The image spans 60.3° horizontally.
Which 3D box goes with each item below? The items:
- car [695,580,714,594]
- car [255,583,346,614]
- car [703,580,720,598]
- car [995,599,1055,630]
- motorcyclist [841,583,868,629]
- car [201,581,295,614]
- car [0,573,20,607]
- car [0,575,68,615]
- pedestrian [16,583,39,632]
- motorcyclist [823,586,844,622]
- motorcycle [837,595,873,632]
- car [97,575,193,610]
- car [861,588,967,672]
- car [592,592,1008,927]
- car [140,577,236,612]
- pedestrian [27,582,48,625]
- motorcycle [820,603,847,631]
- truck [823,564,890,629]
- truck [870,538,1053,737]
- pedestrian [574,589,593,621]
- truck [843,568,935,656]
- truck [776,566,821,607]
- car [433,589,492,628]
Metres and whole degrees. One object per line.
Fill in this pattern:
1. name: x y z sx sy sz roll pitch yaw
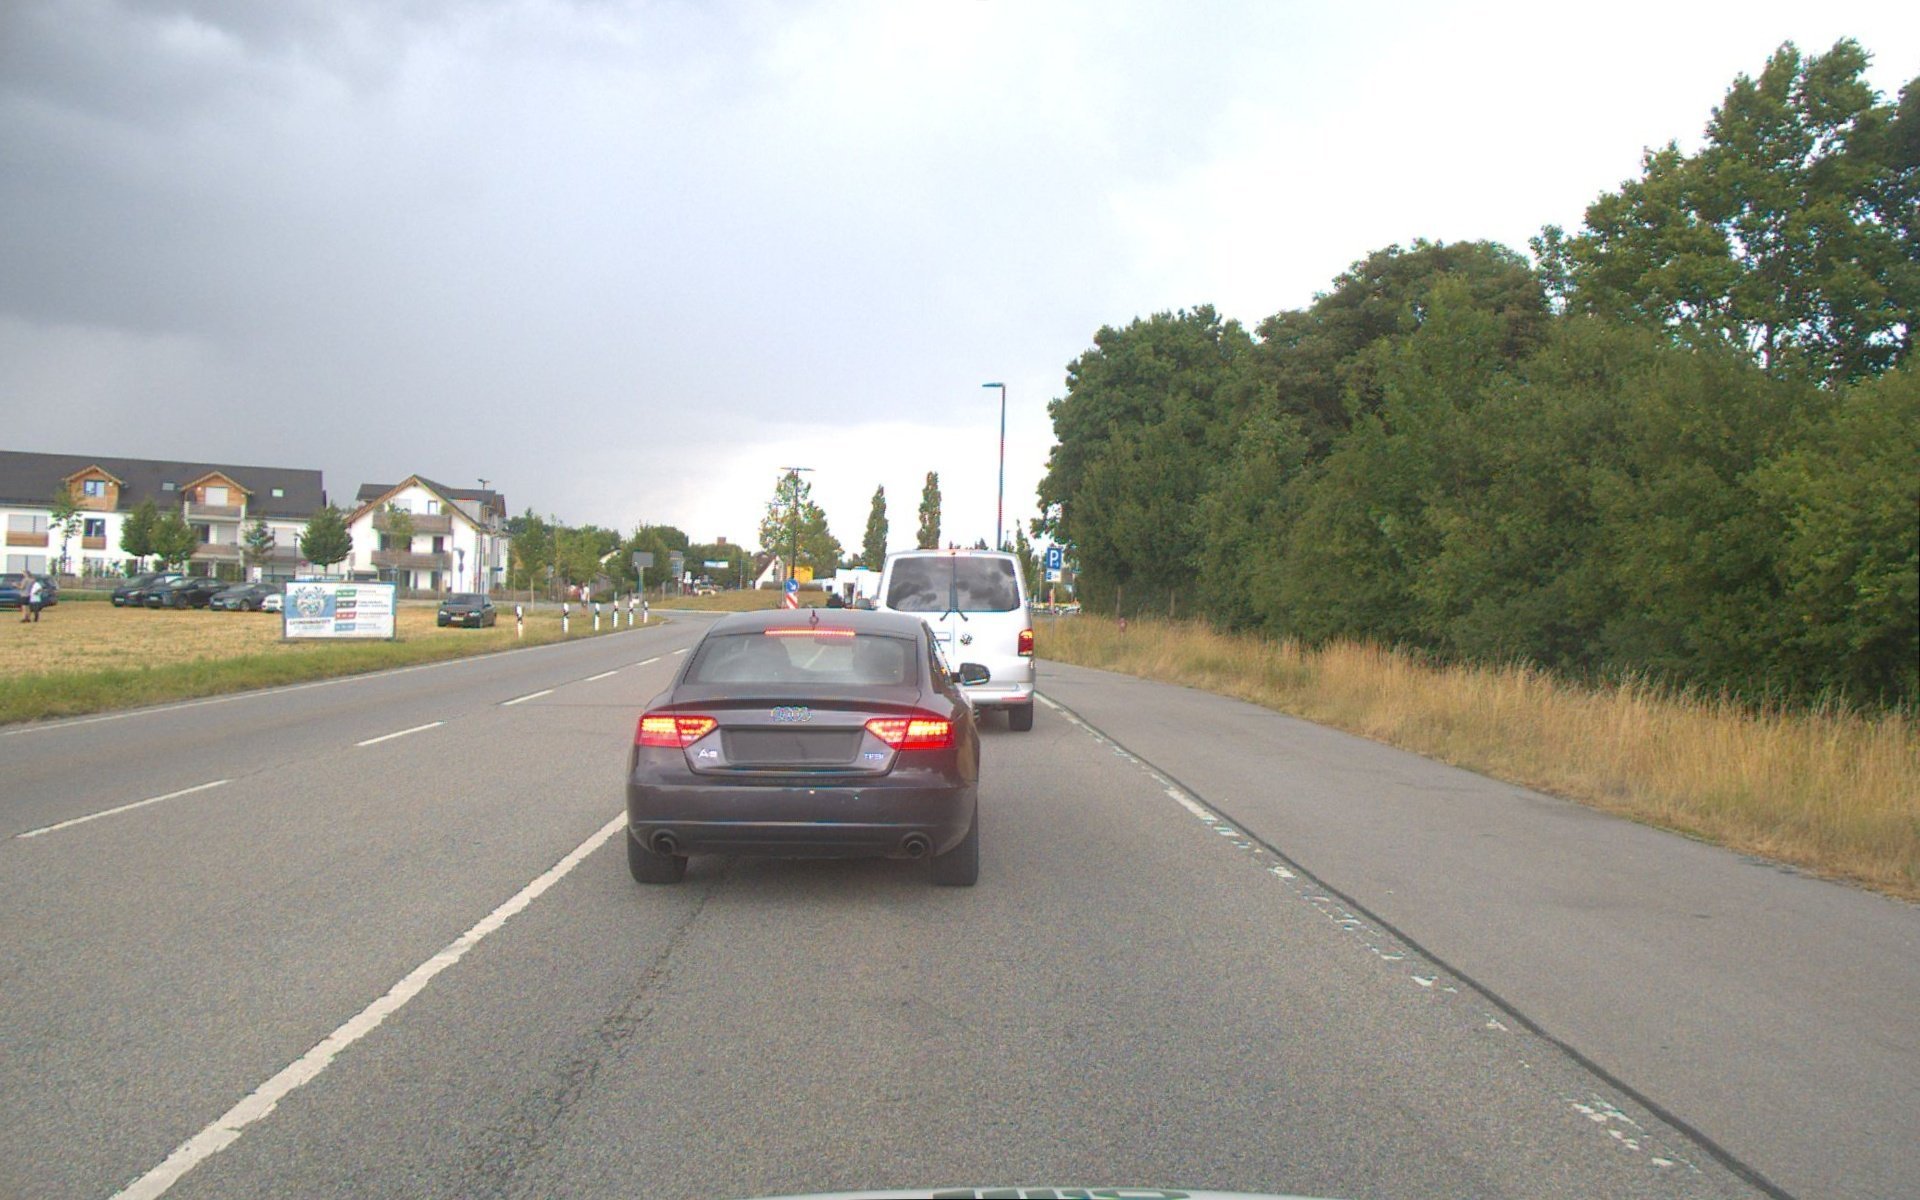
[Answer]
1. car: -30.956 -1.541 200.470 1.955 1.670 3.995 2 0 -6
2. car: -32.138 -0.073 80.717 1.951 1.471 4.214 1 0 17
3. car: -28.838 -1.279 192.047 1.956 2.049 3.992 2 0 -8
4. car: 4.723 1.063 119.847 3.904 2.049 2.001 2 0 19
5. motorcyclist: -3.282 0.178 51.604 0.756 1.407 0.820 2 0 0
6. car: -34.856 -0.116 81.053 1.951 1.562 4.214 1 0 17
7. car: -51.013 -0.557 84.795 4.560 1.727 1.987 1 0 -22
8. car: -42.409 -0.245 73.489 4.649 1.727 1.987 1 0 -22
9. pedestrian: -34.590 0.284 61.354 0.539 1.817 0.676 1 0 -13
10. motorcyclist: -4.988 0.154 65.392 0.770 1.380 0.853 1 0 -2
11. motorcycle: -3.275 0.407 51.704 0.901 1.113 2.189 2 0 1
12. car: -41.120 -0.375 83.542 1.951 1.657 4.214 1 0 17
13. car: -0.928 0.561 32.944 1.953 1.511 3.998 1 0 -2
14. car: -0.746 0.710 9.500 1.837 1.479 4.176 1 0 -1
15. car: -37.961 -0.271 81.422 1.951 1.657 4.214 1 0 17
16. pedestrian: -34.689 0.120 62.208 0.581 1.582 0.622 1 0 -20
17. motorcycle: -4.987 0.660 65.261 0.925 1.037 2.283 1 0 -1
18. truck: -4.832 -0.164 76.380 2.577 2.785 5.856 2 0 -8
19. truck: -0.026 0.384 19.586 1.865 2.033 4.627 1 0 -1
20. pedestrian: -19.322 0.259 84.814 0.653 1.613 0.692 2 0 -44
21. truck: -1.744 0.287 42.078 2.149 2.049 5.083 1 0 -1
22. truck: -15.468 -1.312 157.708 3.510 3.640 9.936 2 0 -9
23. car: -20.459 0.330 68.159 1.959 1.467 3.988 1 1 -12
